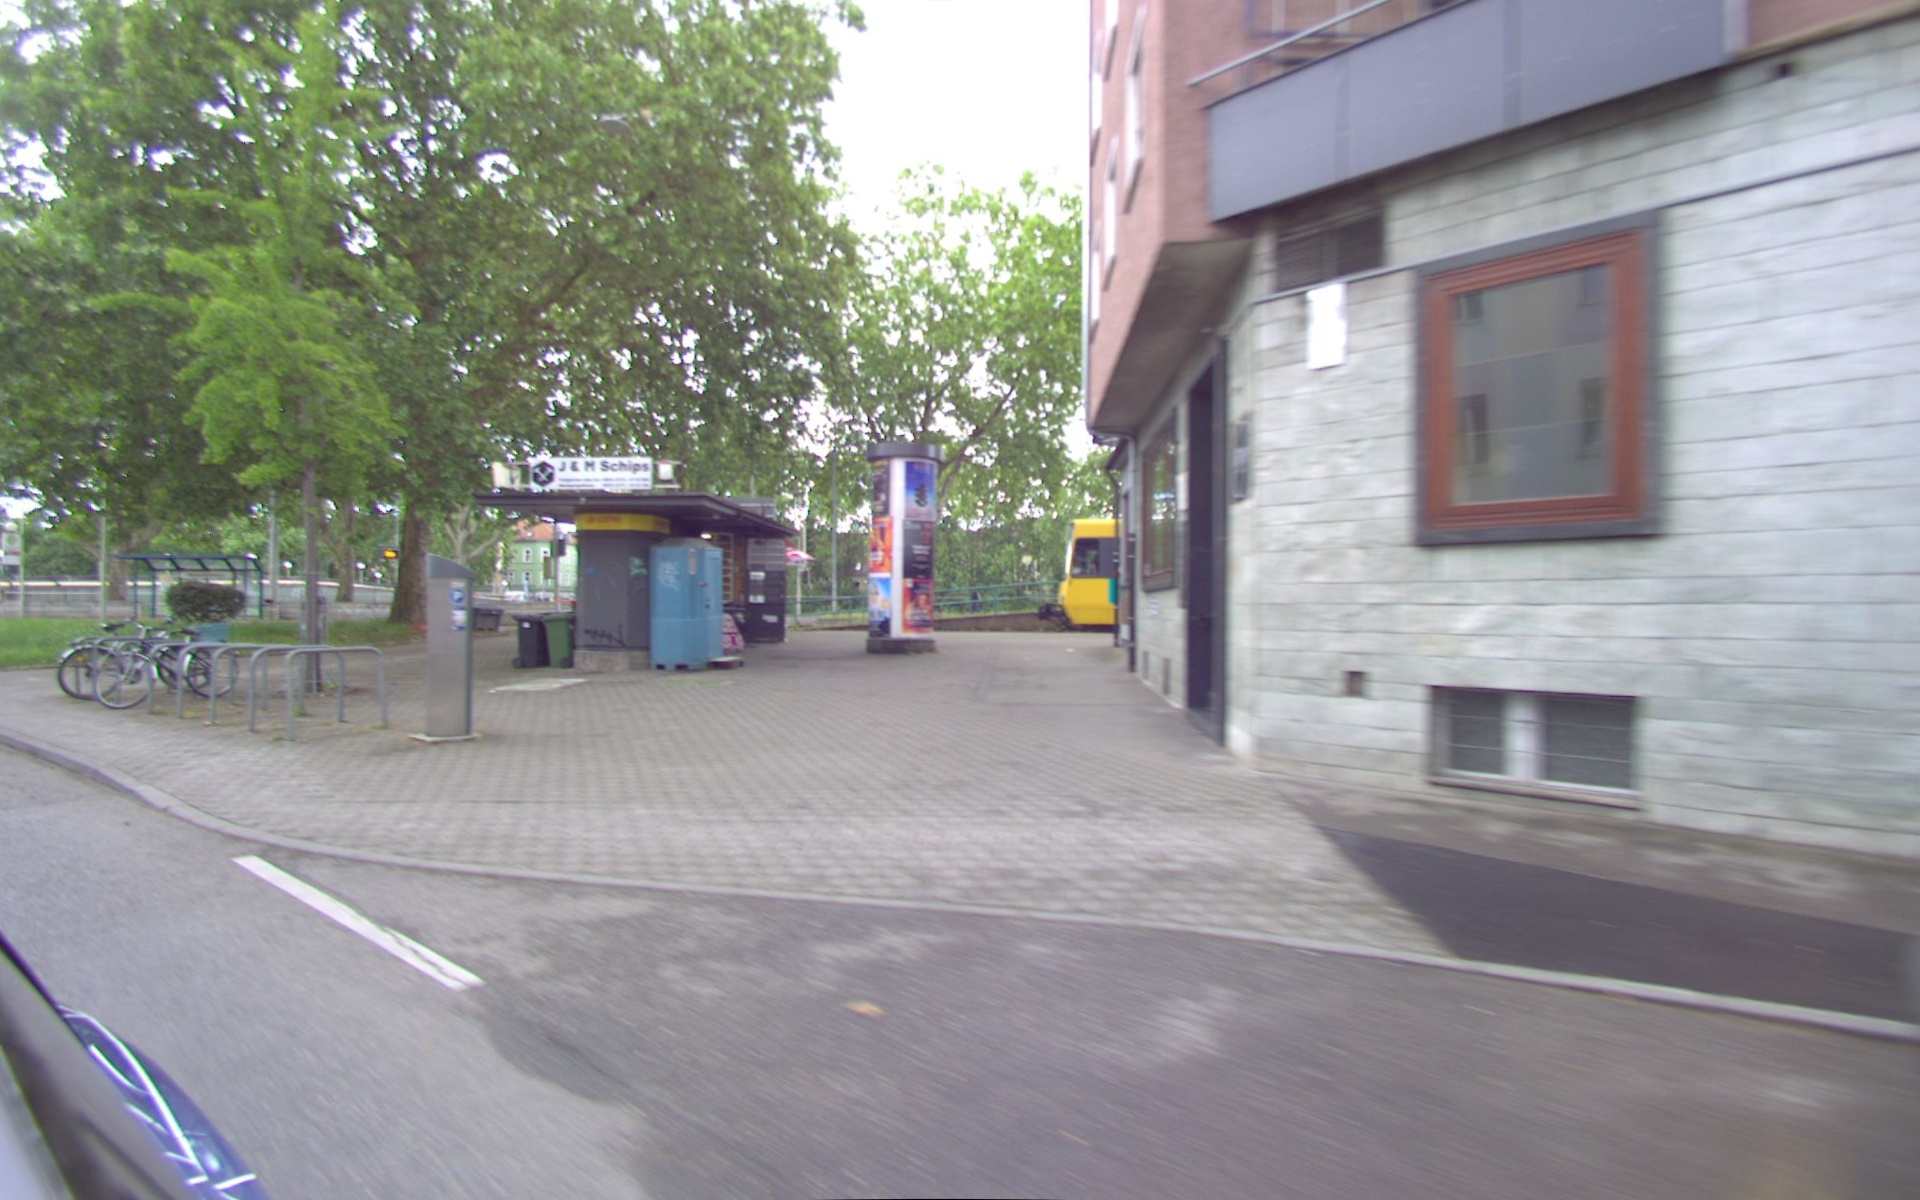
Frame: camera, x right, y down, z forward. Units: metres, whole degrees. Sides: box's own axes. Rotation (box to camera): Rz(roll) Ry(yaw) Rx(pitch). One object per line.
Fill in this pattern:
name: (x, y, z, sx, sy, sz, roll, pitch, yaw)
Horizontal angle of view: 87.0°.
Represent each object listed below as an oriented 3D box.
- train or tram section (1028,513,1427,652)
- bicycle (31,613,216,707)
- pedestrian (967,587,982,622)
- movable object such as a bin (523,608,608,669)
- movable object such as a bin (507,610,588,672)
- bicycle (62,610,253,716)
train or tram section: (7.488, -0.599, 29.833, 10.865, 3.699, 2.922, 1, 3, 5)
bicycle: (-11.363, 0.777, 13.803, 0.577, 1.122, 1.850, 0, 2, 42)
pedestrian: (0.695, 0.225, 49.005, 0.525, 1.634, 0.669, 0, 3, -19)
movable object such as a bin: (-7.095, 0.683, 18.268, 1.098, 0.971, 0.968, -2, 3, 2)
movable object such as a bin: (-7.060, 0.694, 17.355, 1.065, 0.971, 0.673, -2, 3, 2)
bicycle: (-10.243, 0.759, 13.008, 0.719, 1.185, 1.795, 0, 2, 21)
